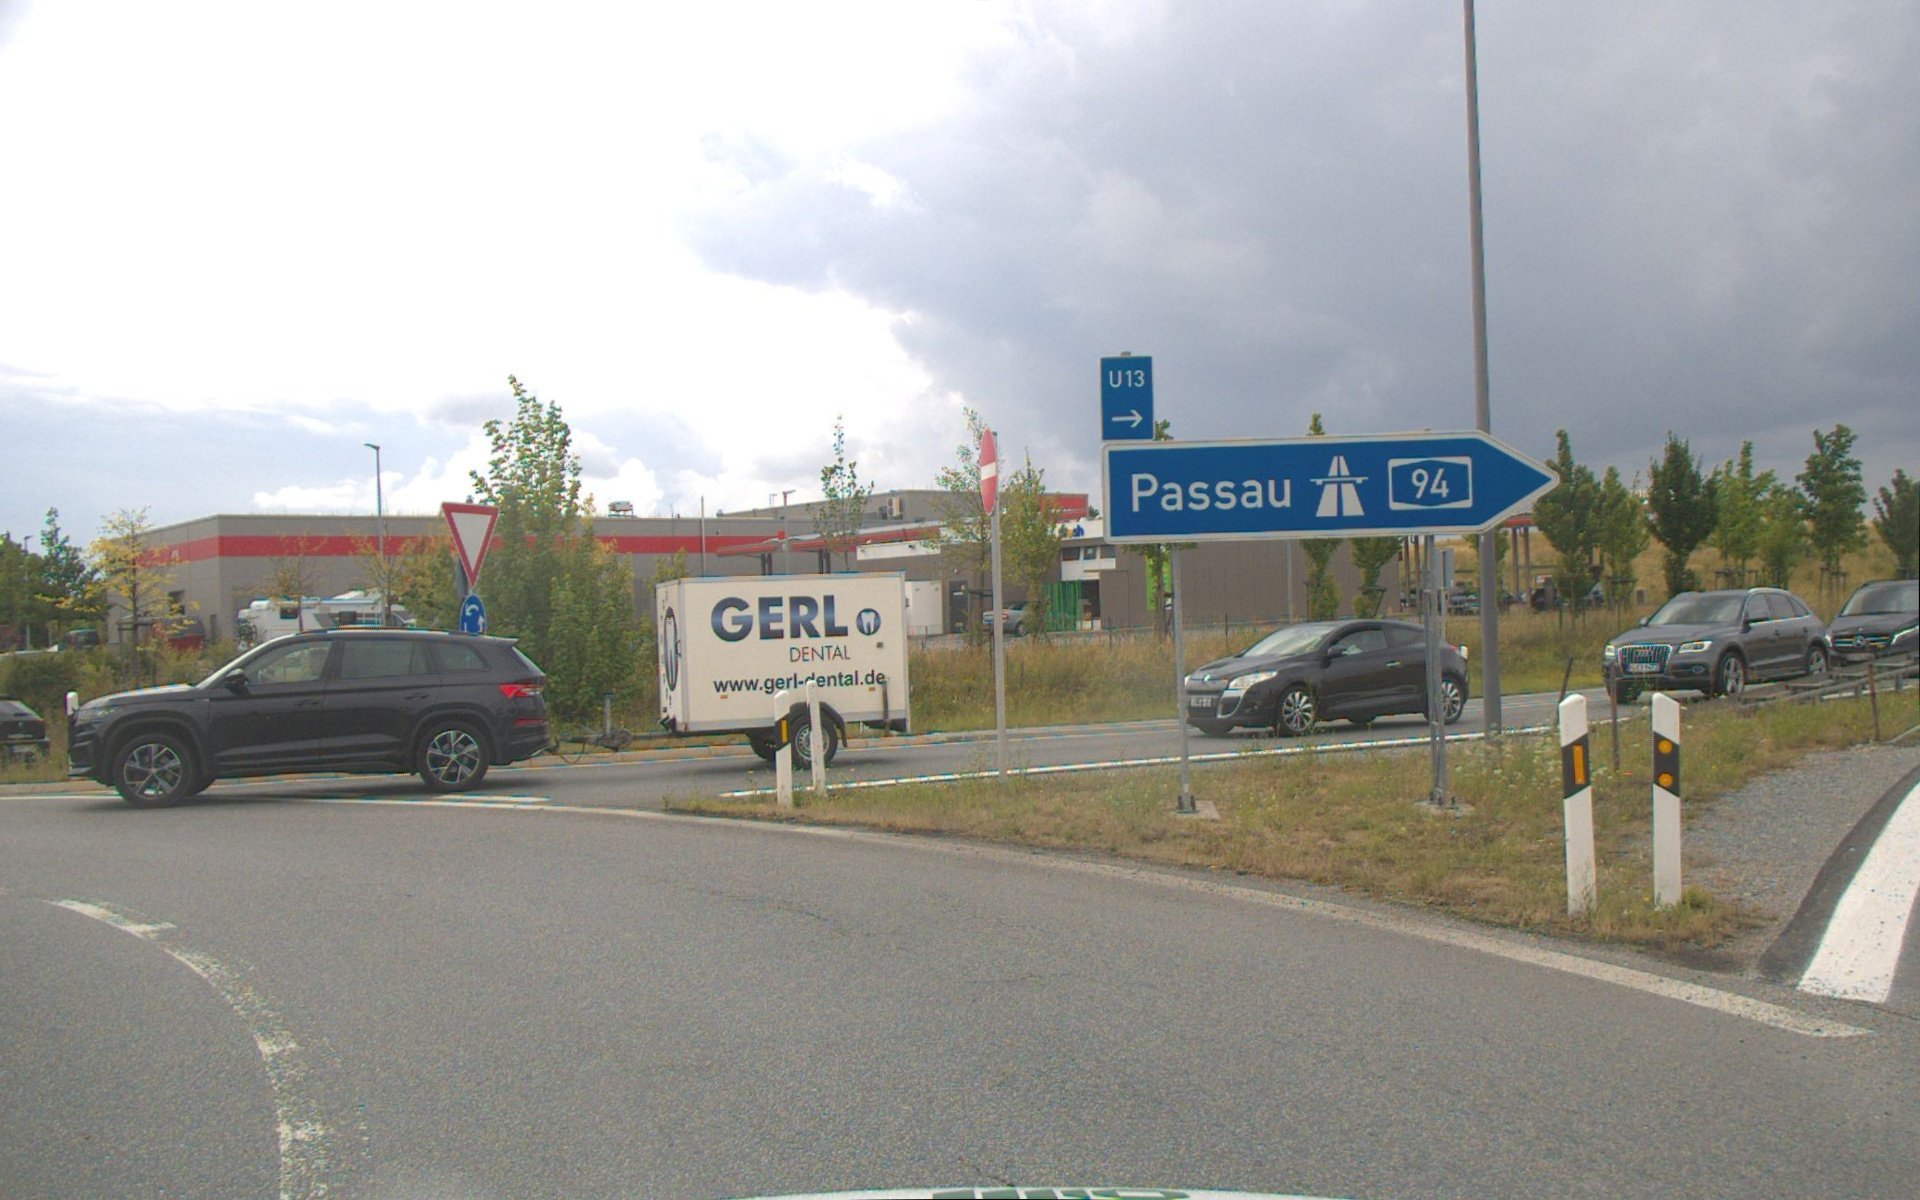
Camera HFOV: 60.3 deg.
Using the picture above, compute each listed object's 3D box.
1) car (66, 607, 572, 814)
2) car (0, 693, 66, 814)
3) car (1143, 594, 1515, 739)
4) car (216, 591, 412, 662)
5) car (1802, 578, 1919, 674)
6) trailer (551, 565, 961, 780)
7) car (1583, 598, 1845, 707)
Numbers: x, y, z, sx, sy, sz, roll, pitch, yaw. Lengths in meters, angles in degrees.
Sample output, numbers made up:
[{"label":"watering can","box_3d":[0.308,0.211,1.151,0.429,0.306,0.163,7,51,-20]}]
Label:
[{"label":"car","box_3d":[-6.454,1.077,17.162,4.593,1.791,1.991,-2,-2,-17]},{"label":"car","box_3d":[-16.812,2.443,26.740,3.902,1.780,1.658,0,0,6]},{"label":"car","box_3d":[4.854,0.832,21.693,4.522,1.713,1.983,0,-2,-27]},{"label":"car","box_3d":[-27.904,1.070,71.707,7.624,2.869,2.433,-1,0,-42]},{"label":"car","box_3d":[18.316,0.502,32.023,4.550,1.713,1.971,0,-2,-41]},{"label":"trailer","box_3d":[-2.333,0.727,18.848,4.298,2.222,1.986,0,0,-23]},{"label":"car","box_3d":[11.633,0.738,25.398,4.492,1.517,1.714,0,0,-36]}]
